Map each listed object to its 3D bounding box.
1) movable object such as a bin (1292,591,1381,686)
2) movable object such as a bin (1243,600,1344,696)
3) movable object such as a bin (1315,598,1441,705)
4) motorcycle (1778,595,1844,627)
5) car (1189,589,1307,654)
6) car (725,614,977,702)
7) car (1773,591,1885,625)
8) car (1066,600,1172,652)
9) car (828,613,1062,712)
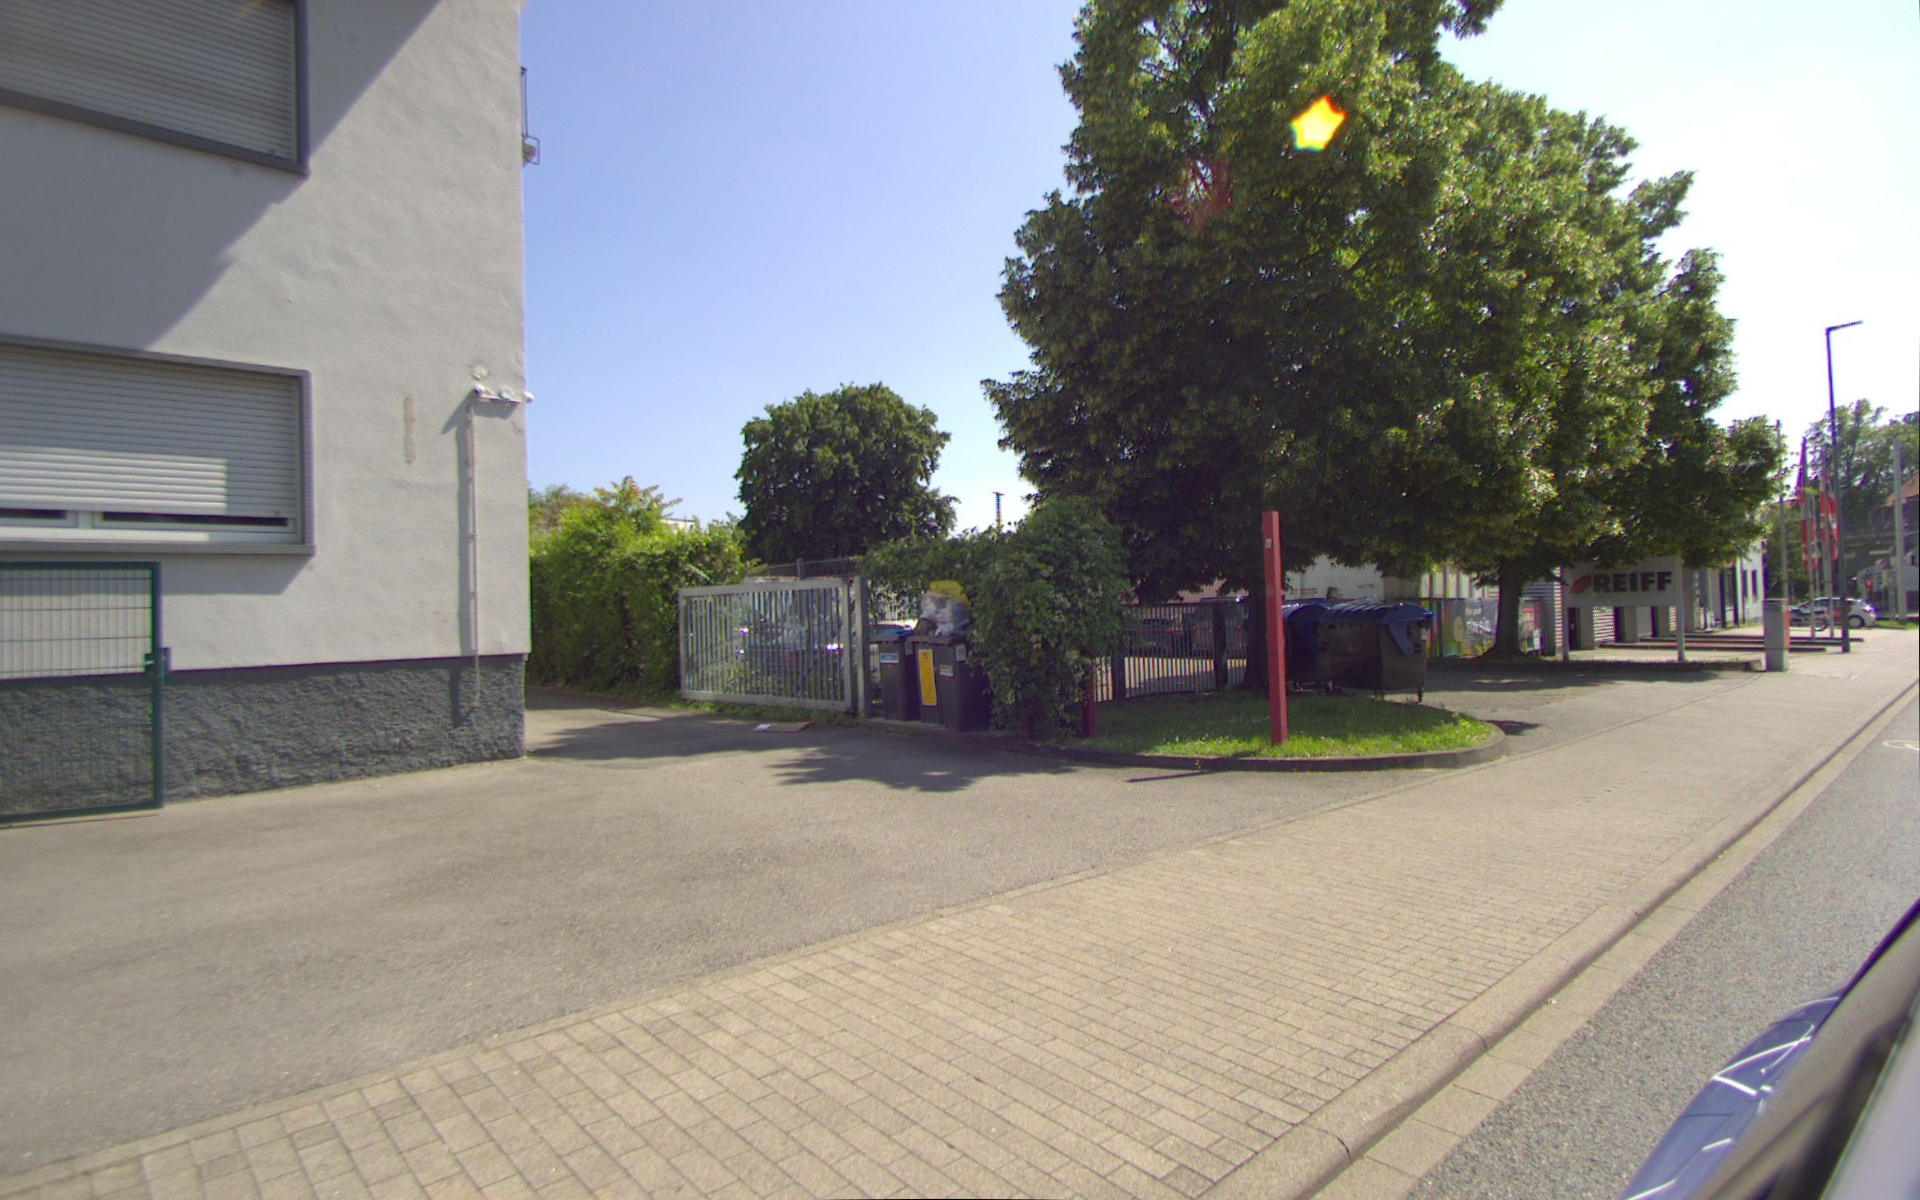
[{"bbox_3d":[6.660,0.662,17.889,0.977,1.566,1.300,-4,-1,43],"label":"movable object such as a bin"},{"bbox_3d":[5.384,0.755,16.404,0.866,1.448,1.323,-3,-1,-18],"label":"movable object such as a bin"},{"bbox_3d":[6.134,0.728,14.922,0.970,1.448,1.391,-3,-1,-18],"label":"movable object such as a bin"},{"bbox_3d":[38.439,0.483,45.725,0.719,1.325,2.185,-1,2,-44],"label":"motorcycle"},{"bbox_3d":[9.354,0.719,32.711,3.931,1.954,1.833,1,-4,-43],"label":"car"},{"bbox_3d":[-2.009,1.037,19.716,4.688,1.396,1.889,-1,0,-43],"label":"car"},{"bbox_3d":[42.490,0.337,49.521,1.859,1.481,3.991,-1,2,-44],"label":"car"},{"bbox_3d":[5.956,0.991,37.704,3.931,1.811,1.833,1,-4,-43],"label":"car"},{"bbox_3d":[-0.185,1.014,17.722,3.932,1.478,1.745,0,-2,-43],"label":"car"}]
